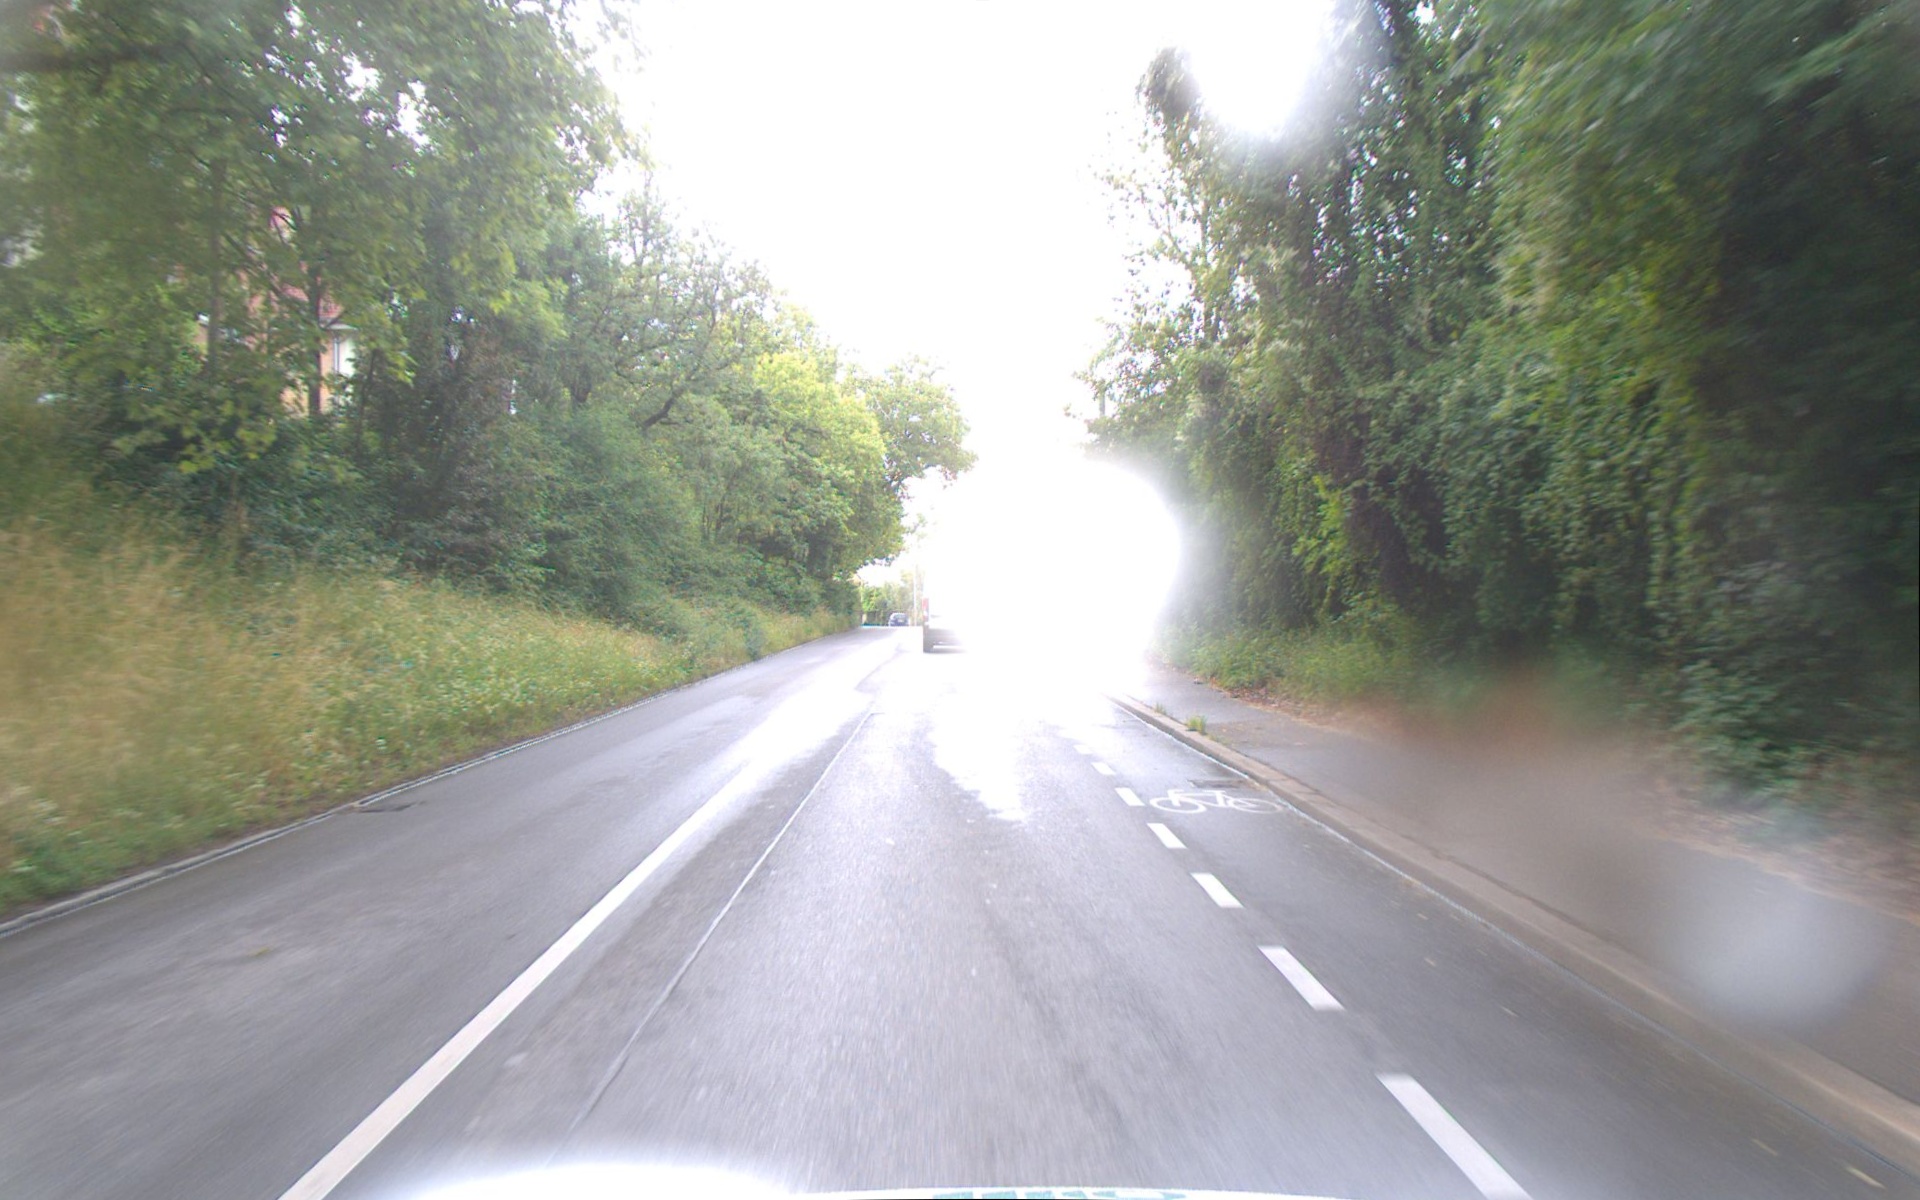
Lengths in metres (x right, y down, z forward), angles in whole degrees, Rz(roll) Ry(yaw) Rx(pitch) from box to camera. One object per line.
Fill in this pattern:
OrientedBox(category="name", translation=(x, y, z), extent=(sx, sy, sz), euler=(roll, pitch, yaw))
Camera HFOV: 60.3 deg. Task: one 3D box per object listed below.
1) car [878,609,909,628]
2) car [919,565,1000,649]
OrientedBox(category="car", translation=(-6.264, 1.720, 154.656), extent=(2.074, 1.741, 4.697), euler=(1, 0, -13))
OrientedBox(category="car", translation=(-0.048, 0.191, 47.607), extent=(2.192, 2.252, 4.712), euler=(1, 0, -1))
